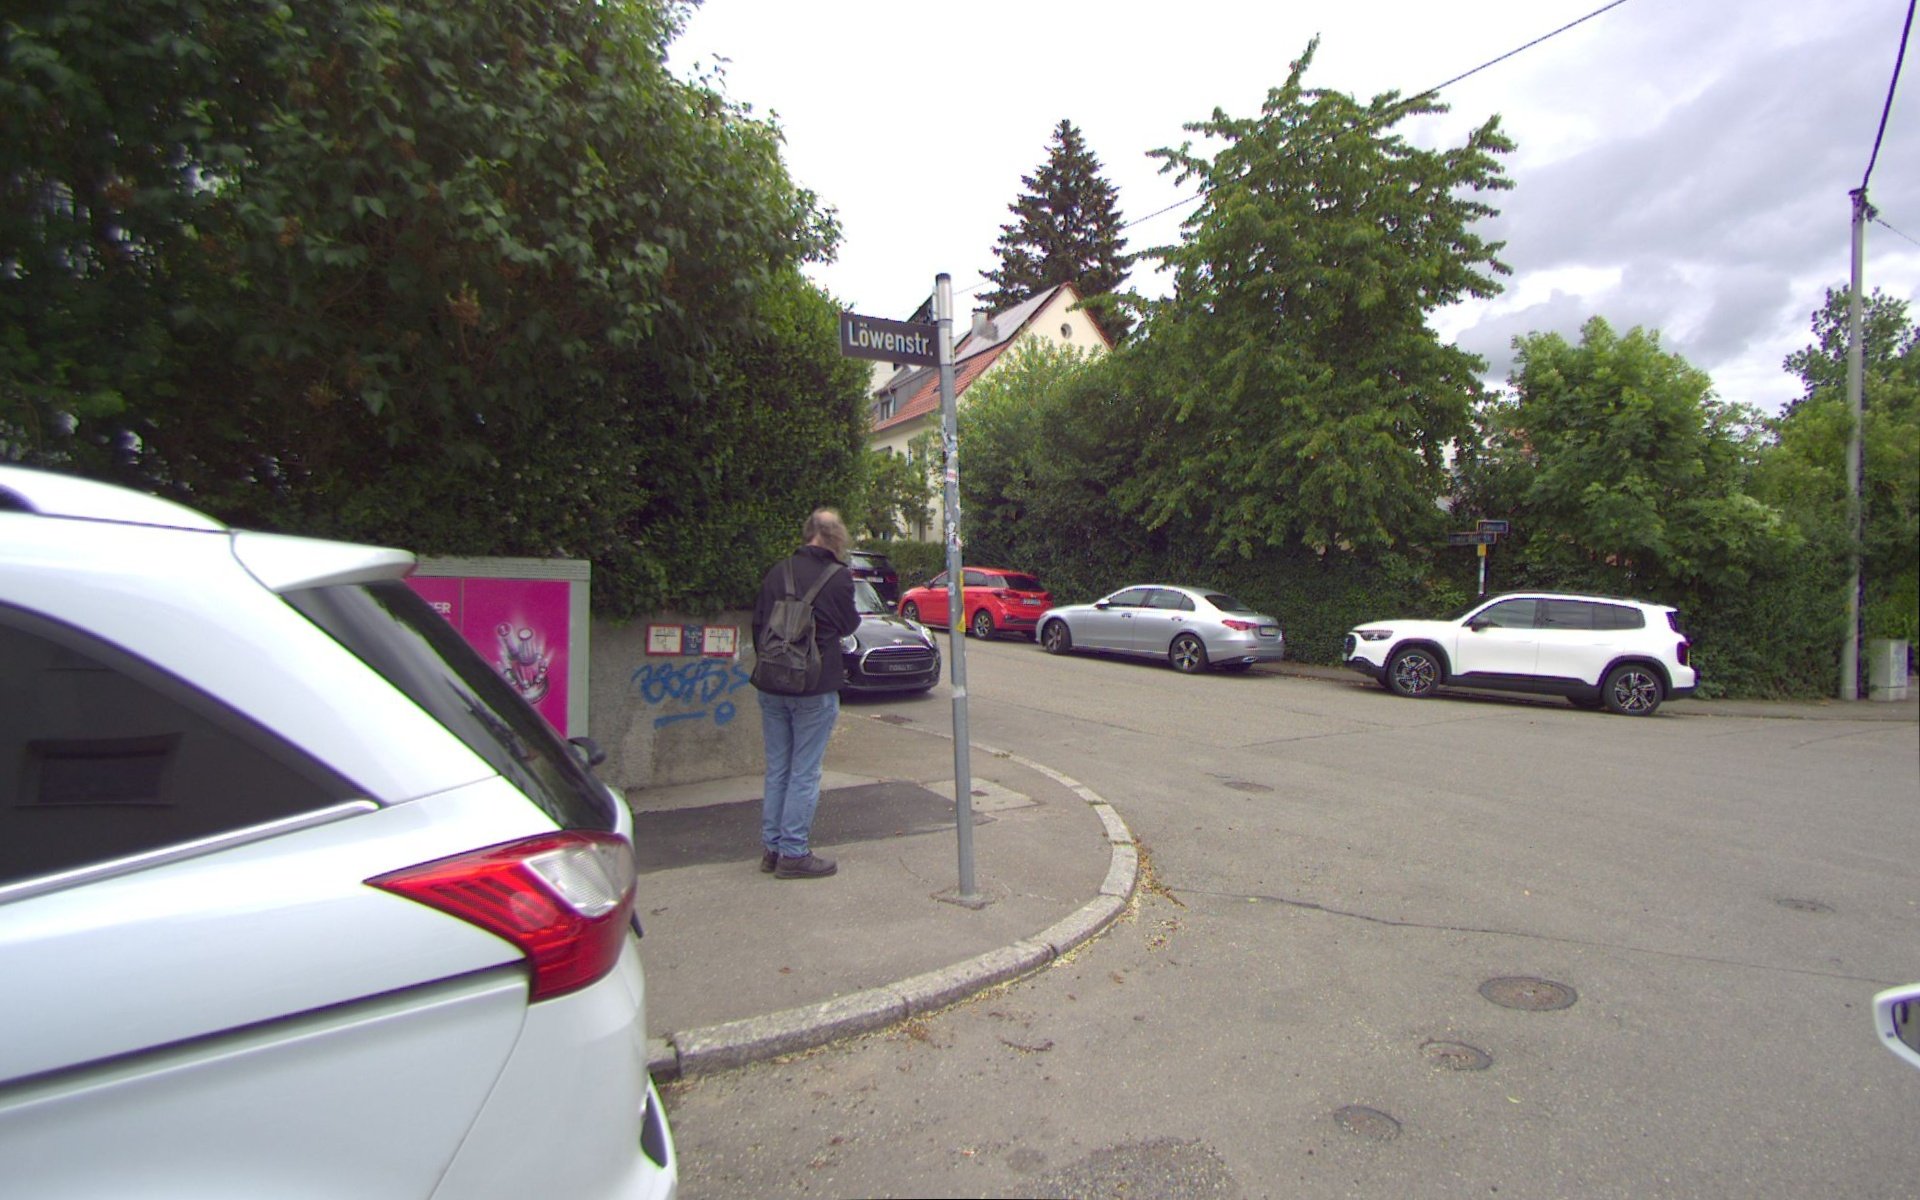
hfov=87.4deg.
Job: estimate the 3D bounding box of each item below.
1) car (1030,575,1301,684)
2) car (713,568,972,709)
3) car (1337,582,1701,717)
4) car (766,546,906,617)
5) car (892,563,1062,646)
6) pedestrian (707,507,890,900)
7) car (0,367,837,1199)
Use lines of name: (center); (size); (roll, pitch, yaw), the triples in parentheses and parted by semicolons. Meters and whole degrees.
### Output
car: (3.558, 0.438, 18.037); (1.823, 1.456, 4.453); (1, 4, -45)
car: (-1.669, 0.386, 13.178); (1.771, 1.543, 3.680); (0, 2, -37)
car: (8.216, 0.658, 15.240); (4.423, 1.678, 1.835); (3, 2, 14)
car: (-3.374, -0.531, 26.640); (1.748, 1.571, 4.205); (1, 3, -37)
car: (0.293, 0.053, 21.977); (1.620, 1.456, 3.744); (1, 4, -39)
pedestrian: (-0.778, 0.461, 5.020); (0.631, 1.783, 0.823); (2, 2, 10)
car: (-2.386, 0.610, 1.186); (4.101, 1.681, 1.796); (1, -1, -30)
